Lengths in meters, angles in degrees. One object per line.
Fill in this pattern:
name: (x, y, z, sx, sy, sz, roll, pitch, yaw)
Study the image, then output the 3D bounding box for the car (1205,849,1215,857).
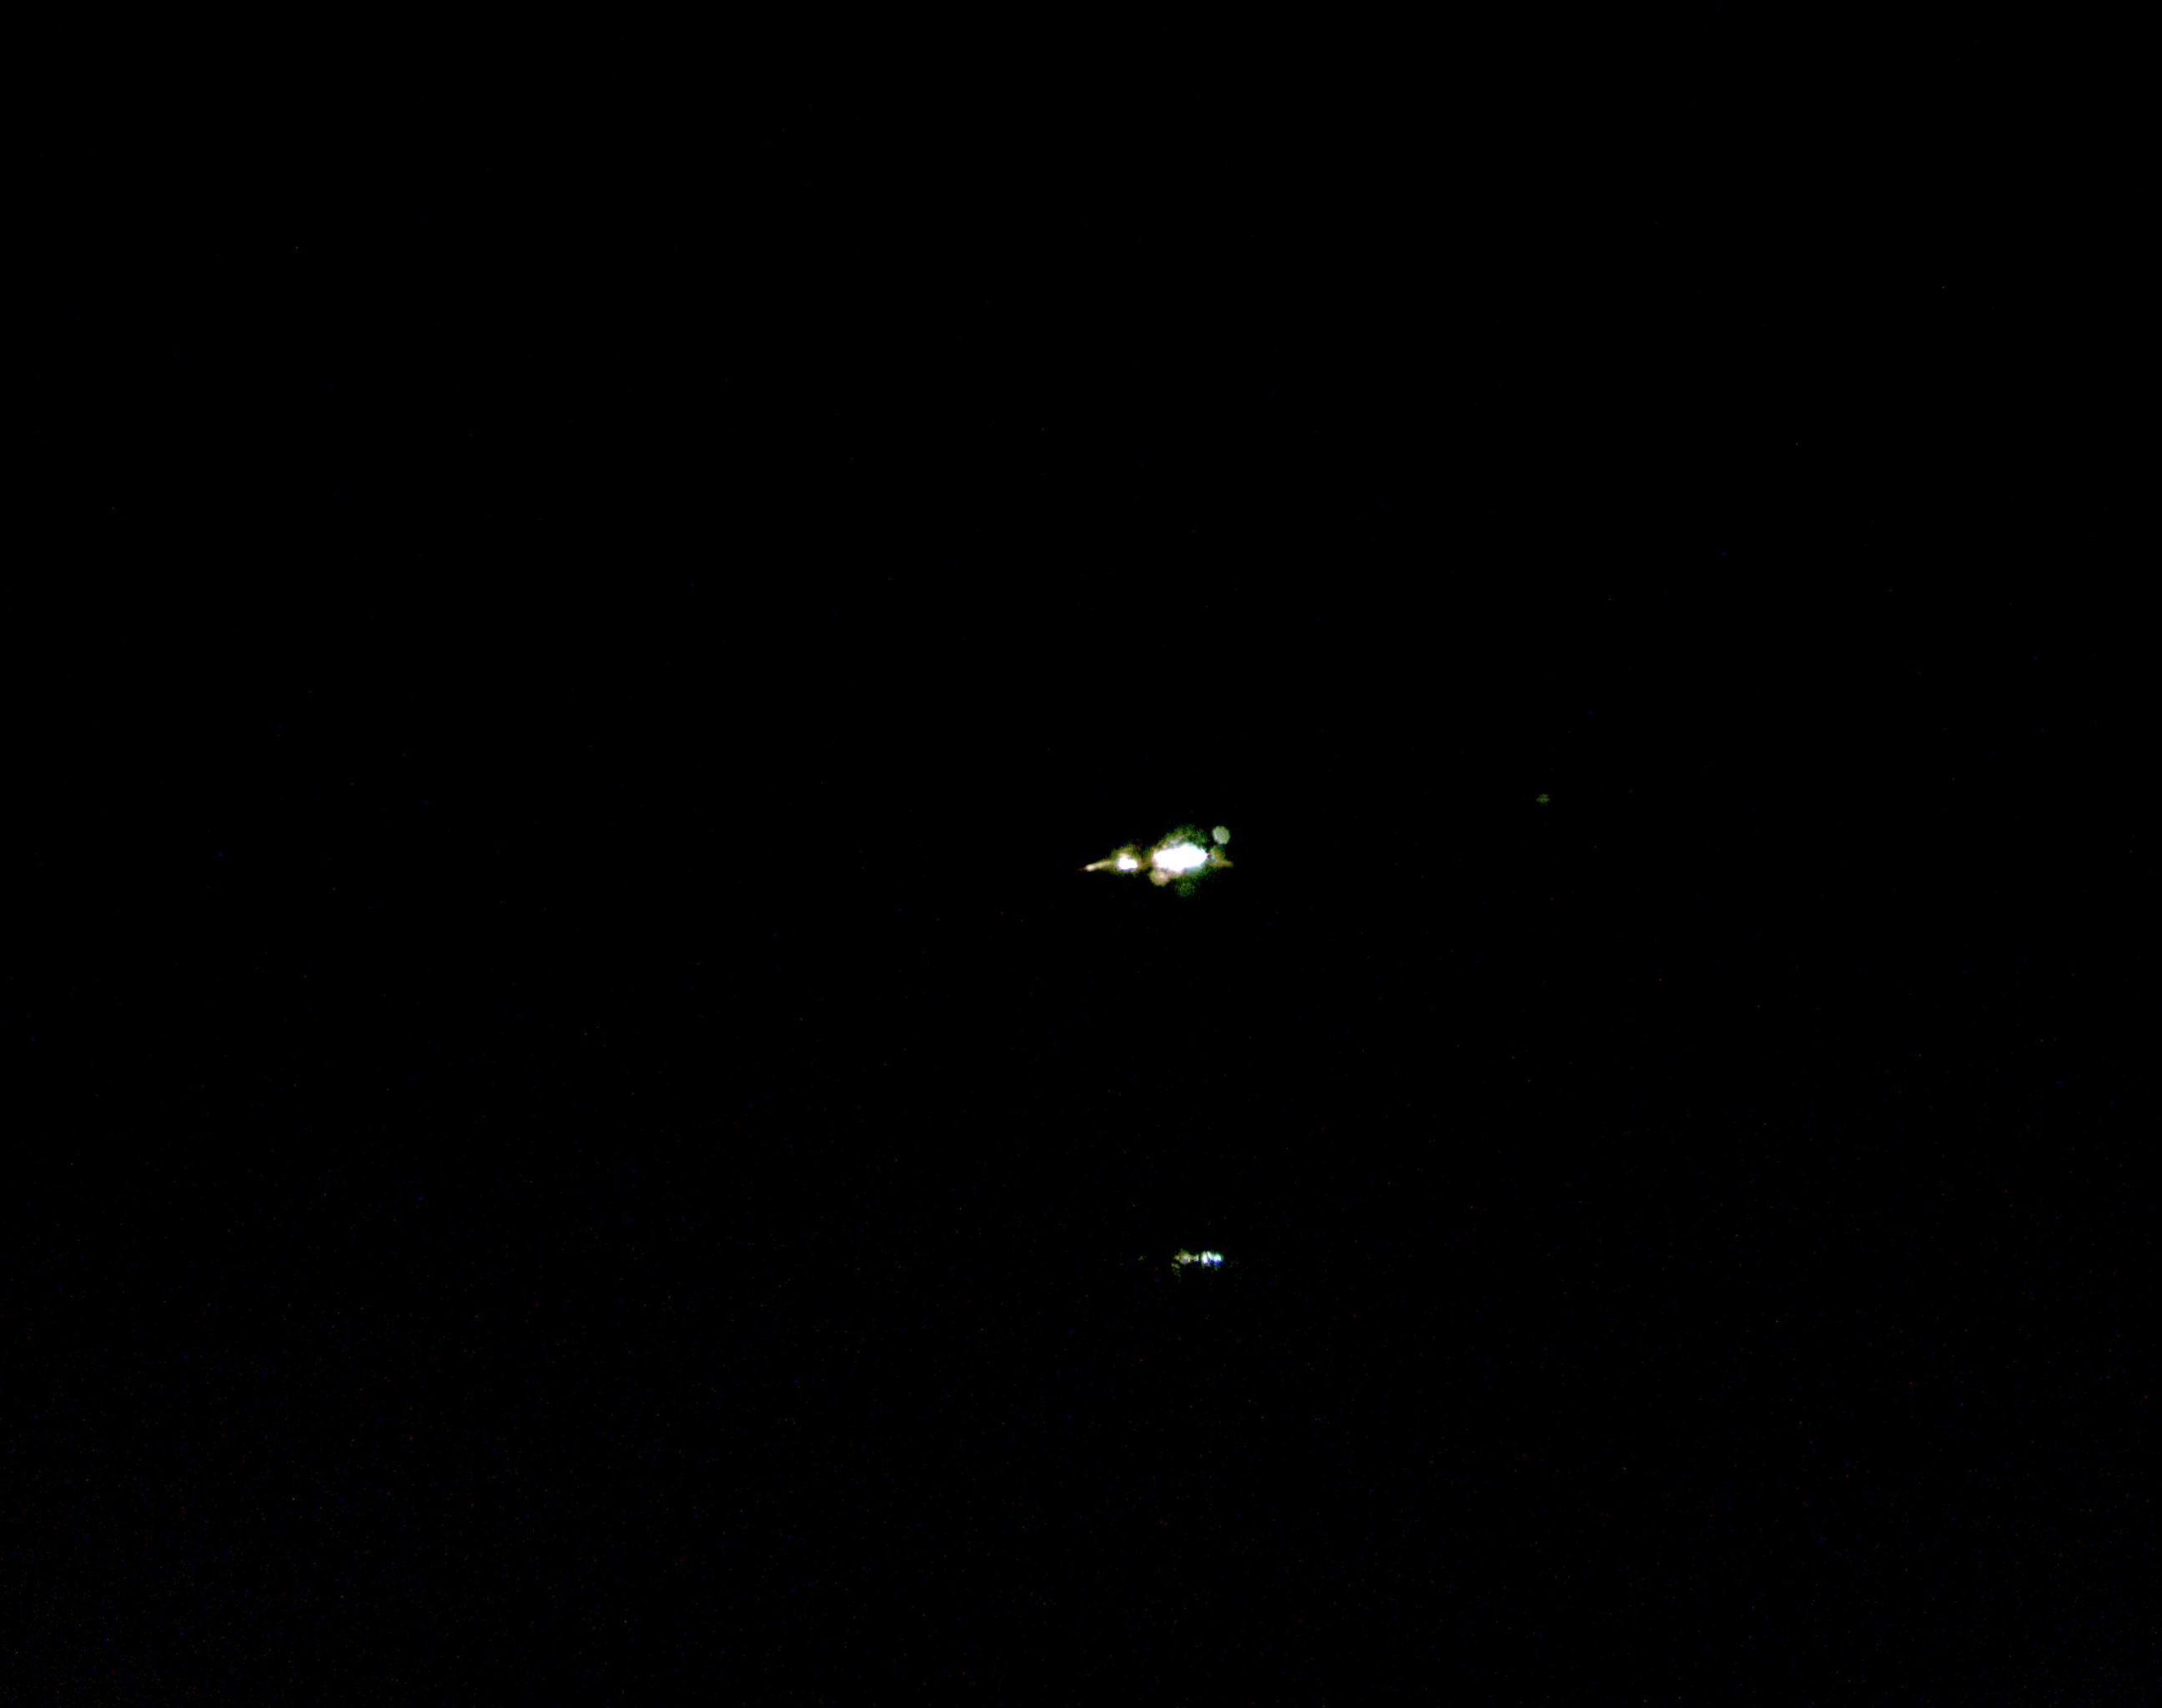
car: (27.373, -0.306, 160.837, 1.924, 1.636, 4.028, -1, 0, 11)

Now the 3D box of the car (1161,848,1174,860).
car: (11.662, -0.008, 102.352, 1.746, 1.623, 3.737, -1, 0, 6)
